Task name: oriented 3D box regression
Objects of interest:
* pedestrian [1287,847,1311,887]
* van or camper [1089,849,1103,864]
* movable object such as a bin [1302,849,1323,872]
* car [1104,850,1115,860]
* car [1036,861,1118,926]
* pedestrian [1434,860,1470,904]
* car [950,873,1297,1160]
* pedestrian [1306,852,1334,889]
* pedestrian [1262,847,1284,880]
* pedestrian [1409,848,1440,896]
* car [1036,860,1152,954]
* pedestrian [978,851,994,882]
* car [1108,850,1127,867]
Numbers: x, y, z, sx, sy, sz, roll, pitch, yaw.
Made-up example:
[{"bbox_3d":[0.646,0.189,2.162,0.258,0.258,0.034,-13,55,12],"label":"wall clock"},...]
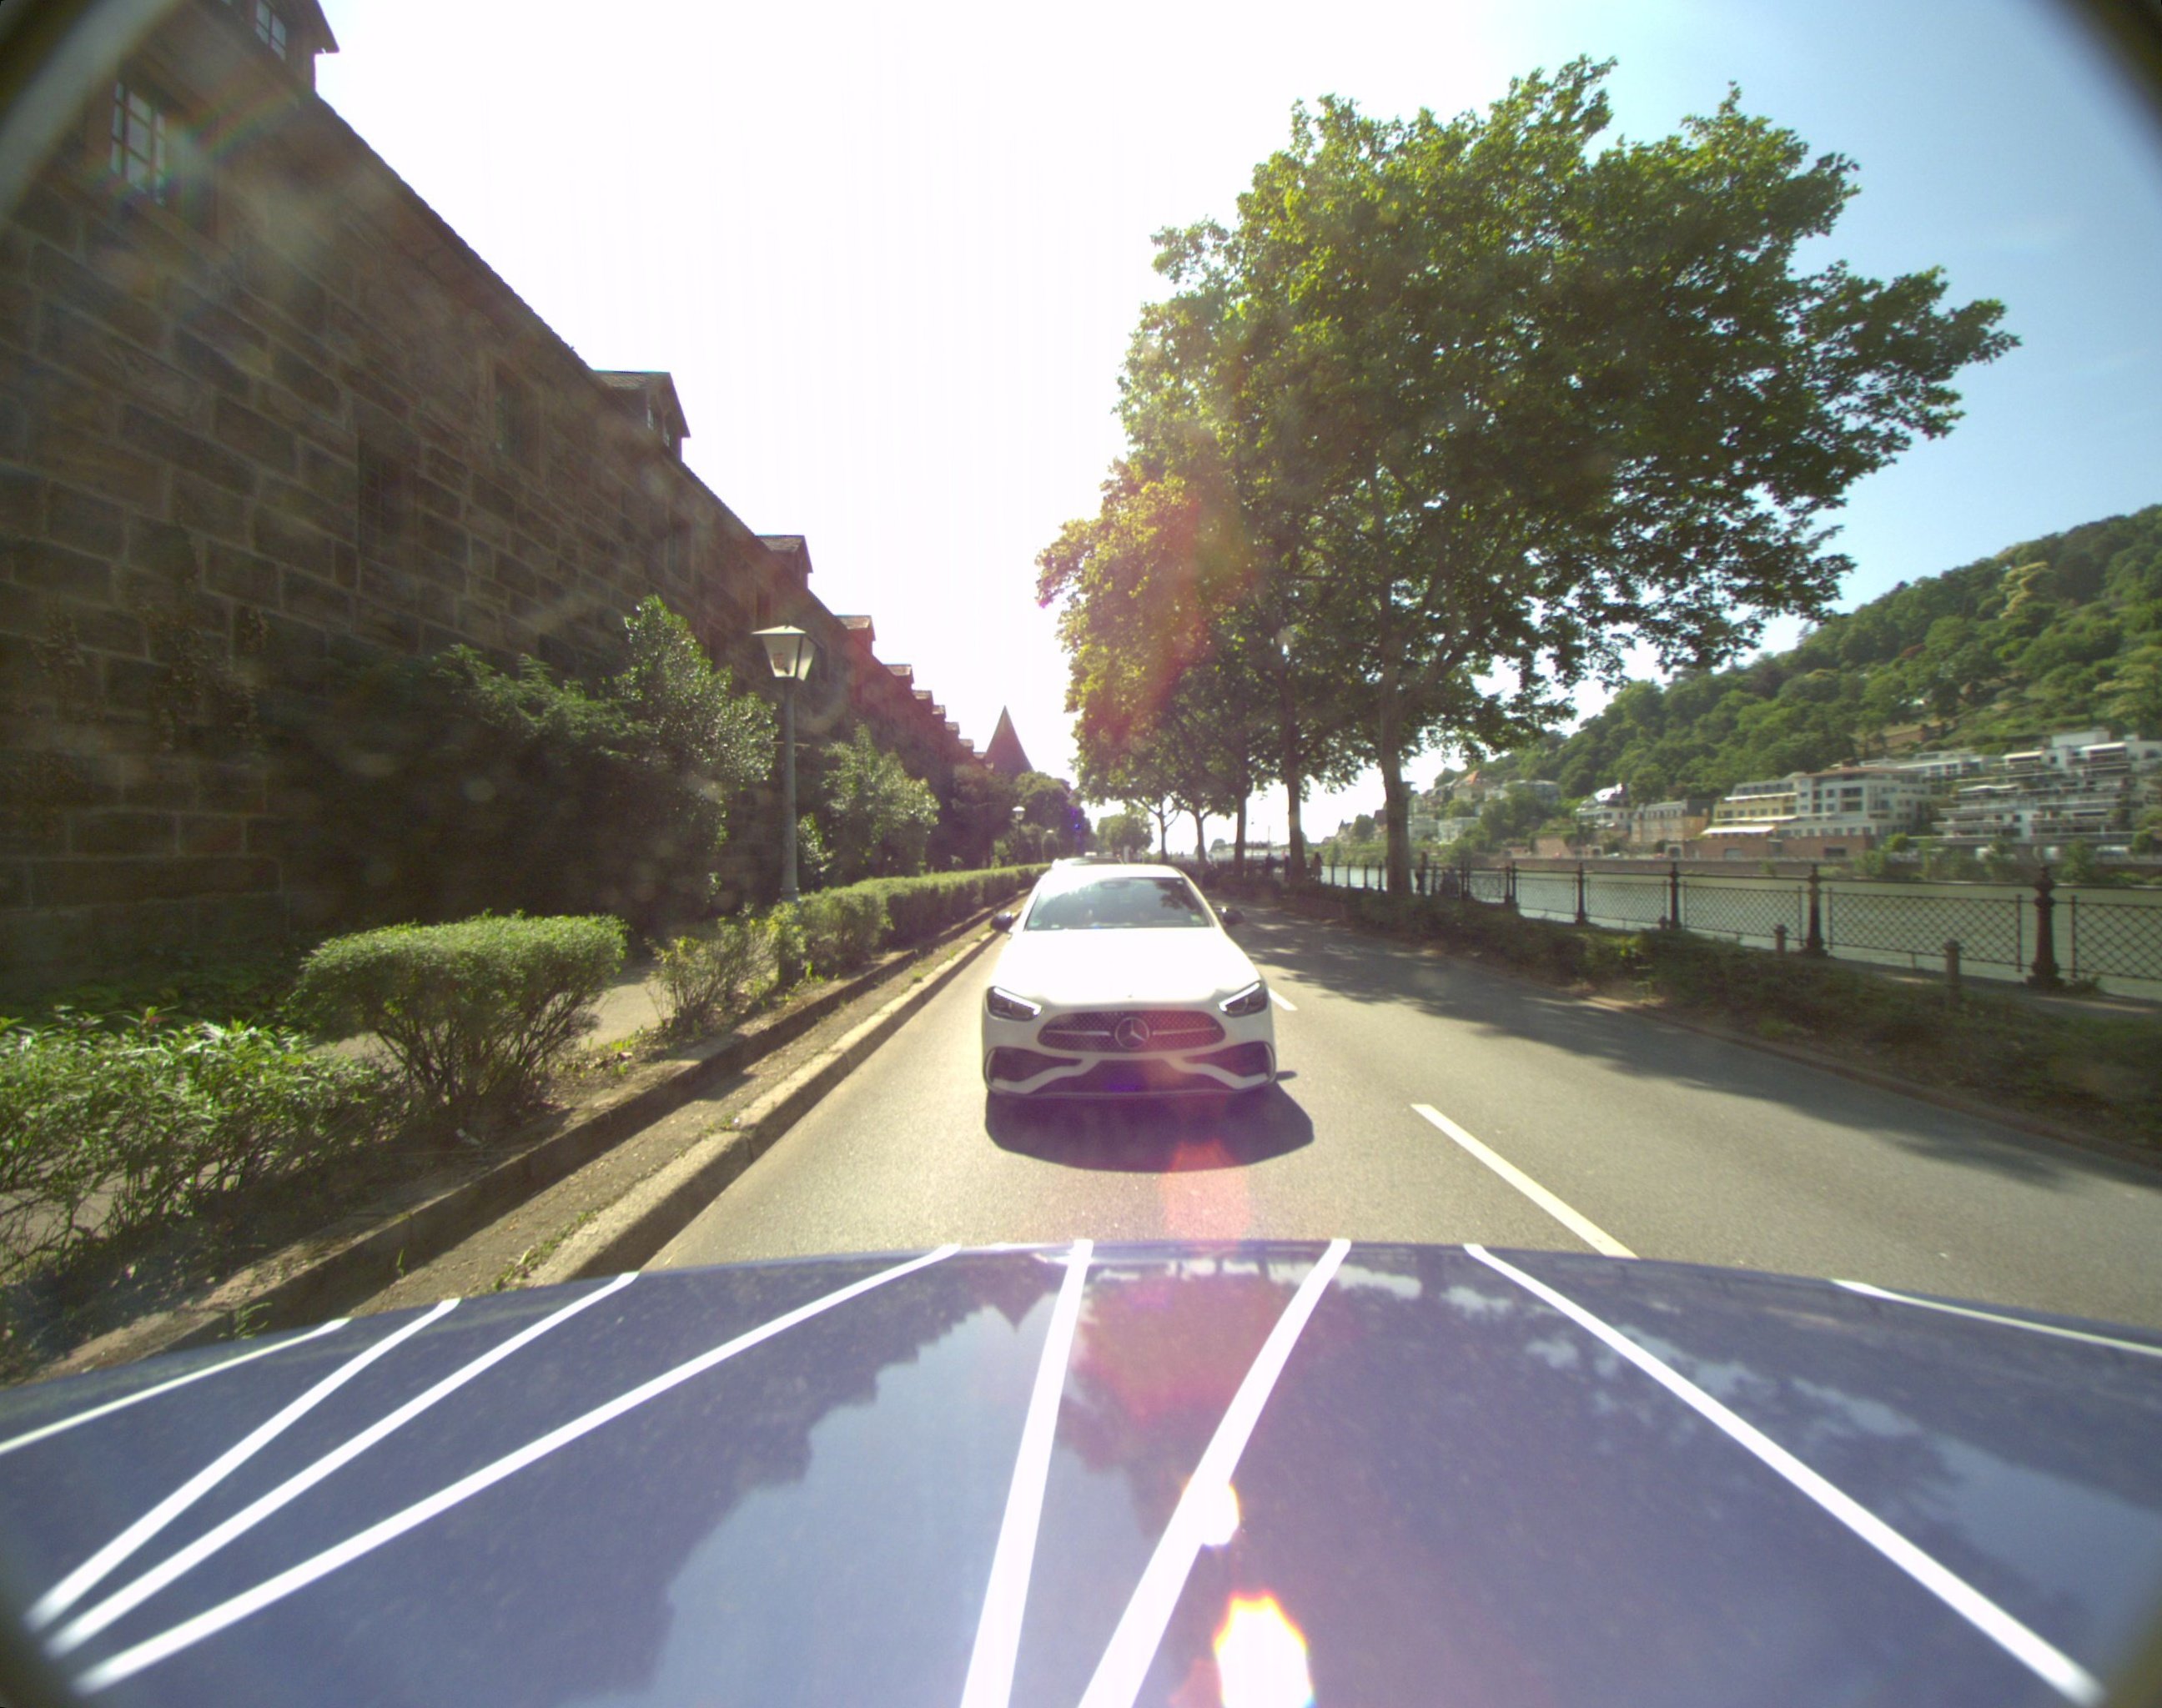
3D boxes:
[{"bbox_3d":[10.287,0.618,35.899,0.806,1.839,0.929,-2,1,1],"label":"pedestrian"},{"bbox_3d":[2.483,0.417,126.409,2.313,2.358,5.035,1,0,0],"label":"van or camper"},{"bbox_3d":[11.017,0.303,36.226,0.704,1.043,0.783,-2,1,-4],"label":"movable object such as a bin"},{"bbox_3d":[5.924,0.143,157.046,2.165,2.002,4.000,-2,1,1],"label":"car"},{"bbox_3d":[-0.053,0.923,19.601,1.833,1.395,4.424,-2,0,1],"label":"car"},{"bbox_3d":[12.063,0.900,24.727,0.768,1.379,0.770,1,0,0],"label":"pedestrian"},{"bbox_3d":[0.258,0.934,6.243,1.833,1.395,4.270,-2,0,1],"label":"car"},{"bbox_3d":[11.131,0.756,35.348,0.898,1.625,1.058,-2,1,-2],"label":"pedestrian"},{"bbox_3d":[12.111,0.587,47.971,1.047,2.002,1.036,-1,1,31],"label":"pedestrian"},{"bbox_3d":[12.914,0.675,28.589,0.777,1.748,0.830,1,1,0],"label":"pedestrian"},{"bbox_3d":[0.233,0.875,14.433,1.833,1.428,4.270,-2,0,1],"label":"car"},{"bbox_3d":[-4.843,0.642,38.786,0.643,1.555,0.563,-2,1,1],"label":"pedestrian"},{"bbox_3d":[4.584,0.596,95.968,2.165,2.002,4.000,-2,1,1],"label":"car"}]
